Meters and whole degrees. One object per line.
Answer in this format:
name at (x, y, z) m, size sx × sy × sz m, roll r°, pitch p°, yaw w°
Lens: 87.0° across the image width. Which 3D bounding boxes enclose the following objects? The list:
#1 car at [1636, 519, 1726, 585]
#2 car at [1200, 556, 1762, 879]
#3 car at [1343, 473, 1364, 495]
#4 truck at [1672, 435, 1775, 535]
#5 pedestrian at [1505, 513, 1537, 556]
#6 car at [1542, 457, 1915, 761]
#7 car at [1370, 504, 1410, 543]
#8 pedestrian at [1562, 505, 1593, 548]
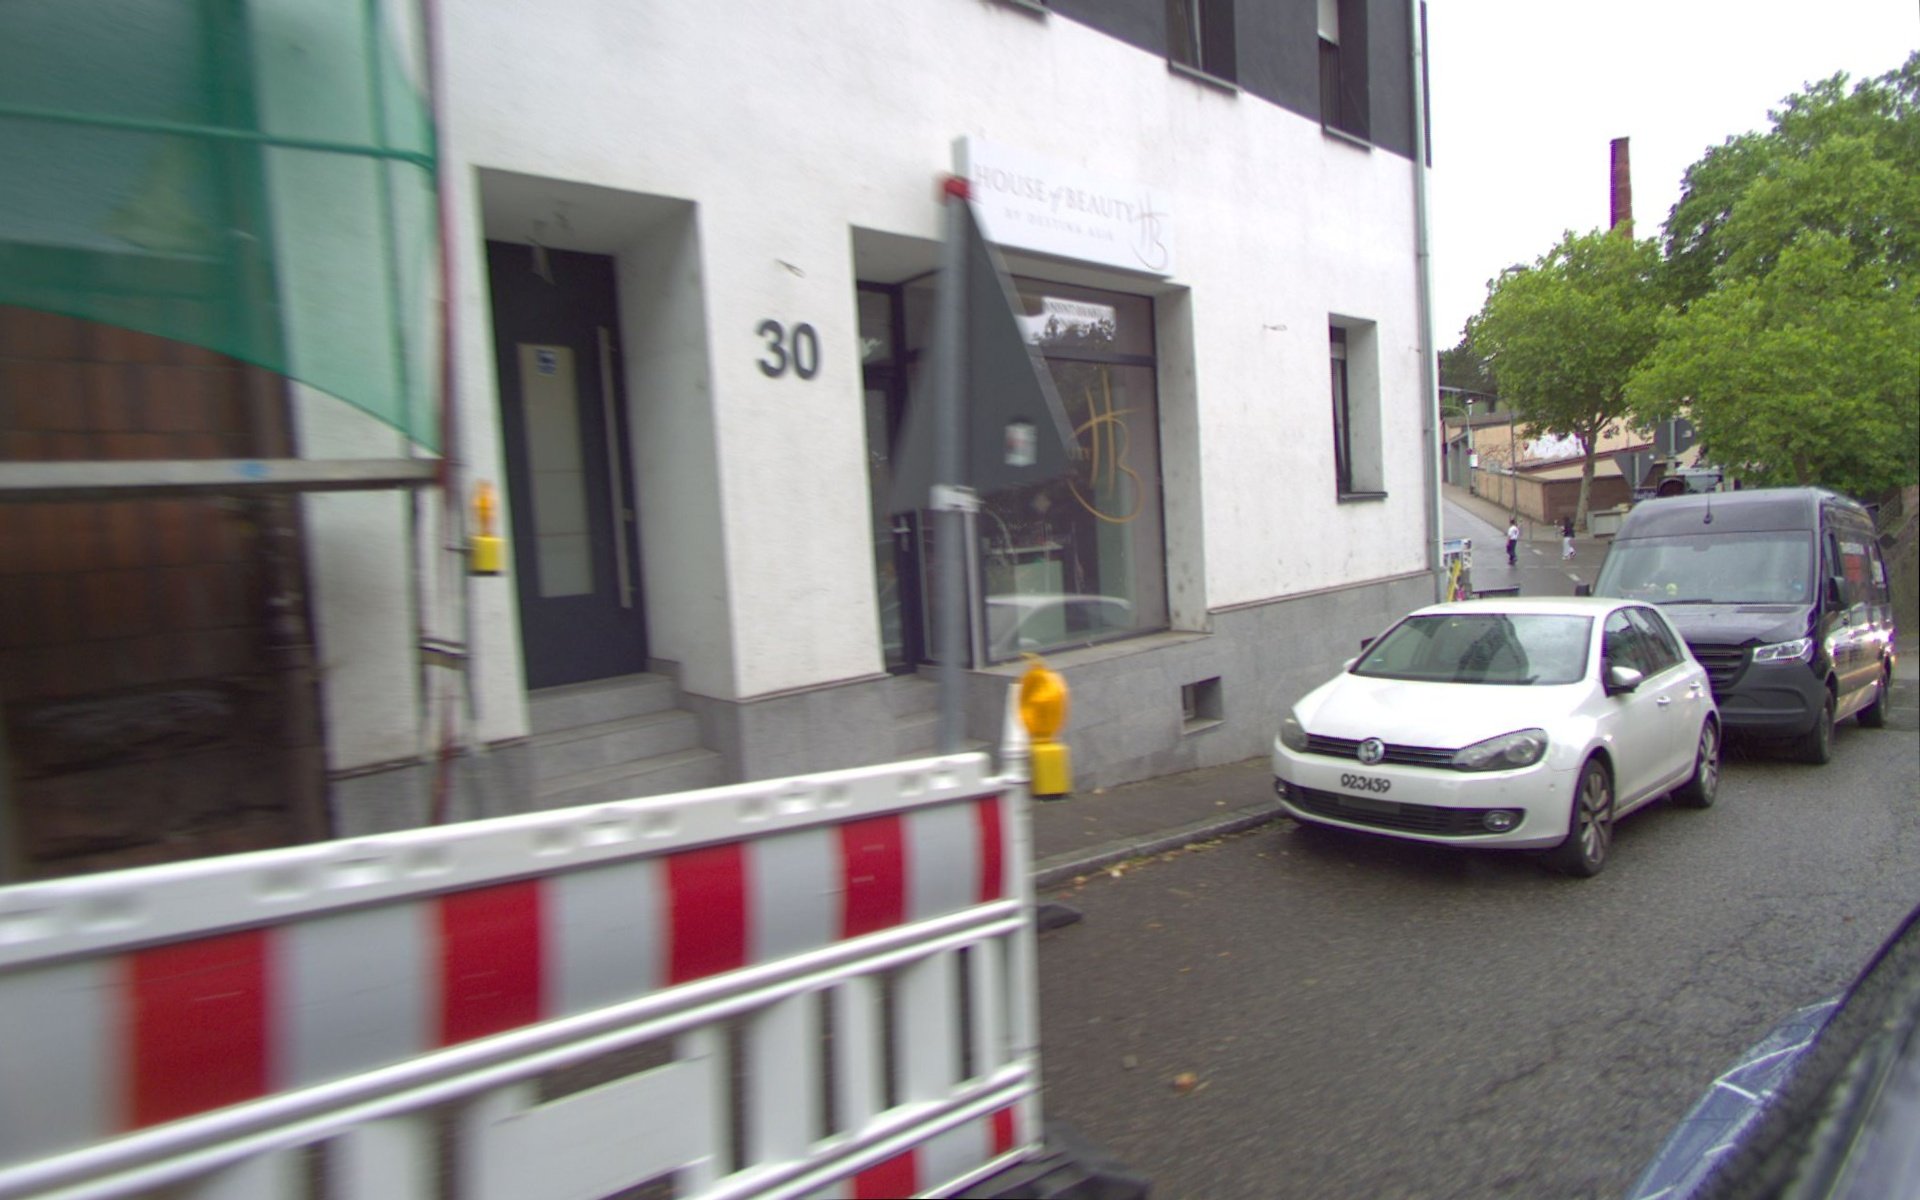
car at (23.750, -1.605, 33.295) m, size 4.285 × 1.509 × 1.631 m, roll -13°, pitch 8°, yaw -44°
car at (3.767, 0.533, 6.973) m, size 4.262 × 1.531 × 1.996 m, roll -1°, pitch 0°, yaw -41°
car at (38.840, -11.477, 99.849) m, size 1.714 × 1.656 × 3.980 m, roll -3°, pitch 9°, yaw 23°
truck at (35.426, -5.453, 46.755) m, size 2.746 × 3.342 × 11.085 m, roll 2°, pitch 12°, yaw 42°
pedestrian at (22.620, -2.652, 40.821) m, size 0.765 × 1.697 × 0.874 m, roll -3°, pitch 4°, yaw -38°
car at (8.396, -0.044, 10.784) m, size 5.737 × 2.444 × 1.996 m, roll -3°, pitch 1°, yaw -41°
car at (22.697, -4.089, 53.491) m, size 1.804 × 1.534 × 3.980 m, roll -2°, pitch 9°, yaw 22°
pedestrian at (24.835, -2.949, 40.719) m, size 0.863 × 1.697 × 0.775 m, roll 0°, pitch 3°, yaw 19°
